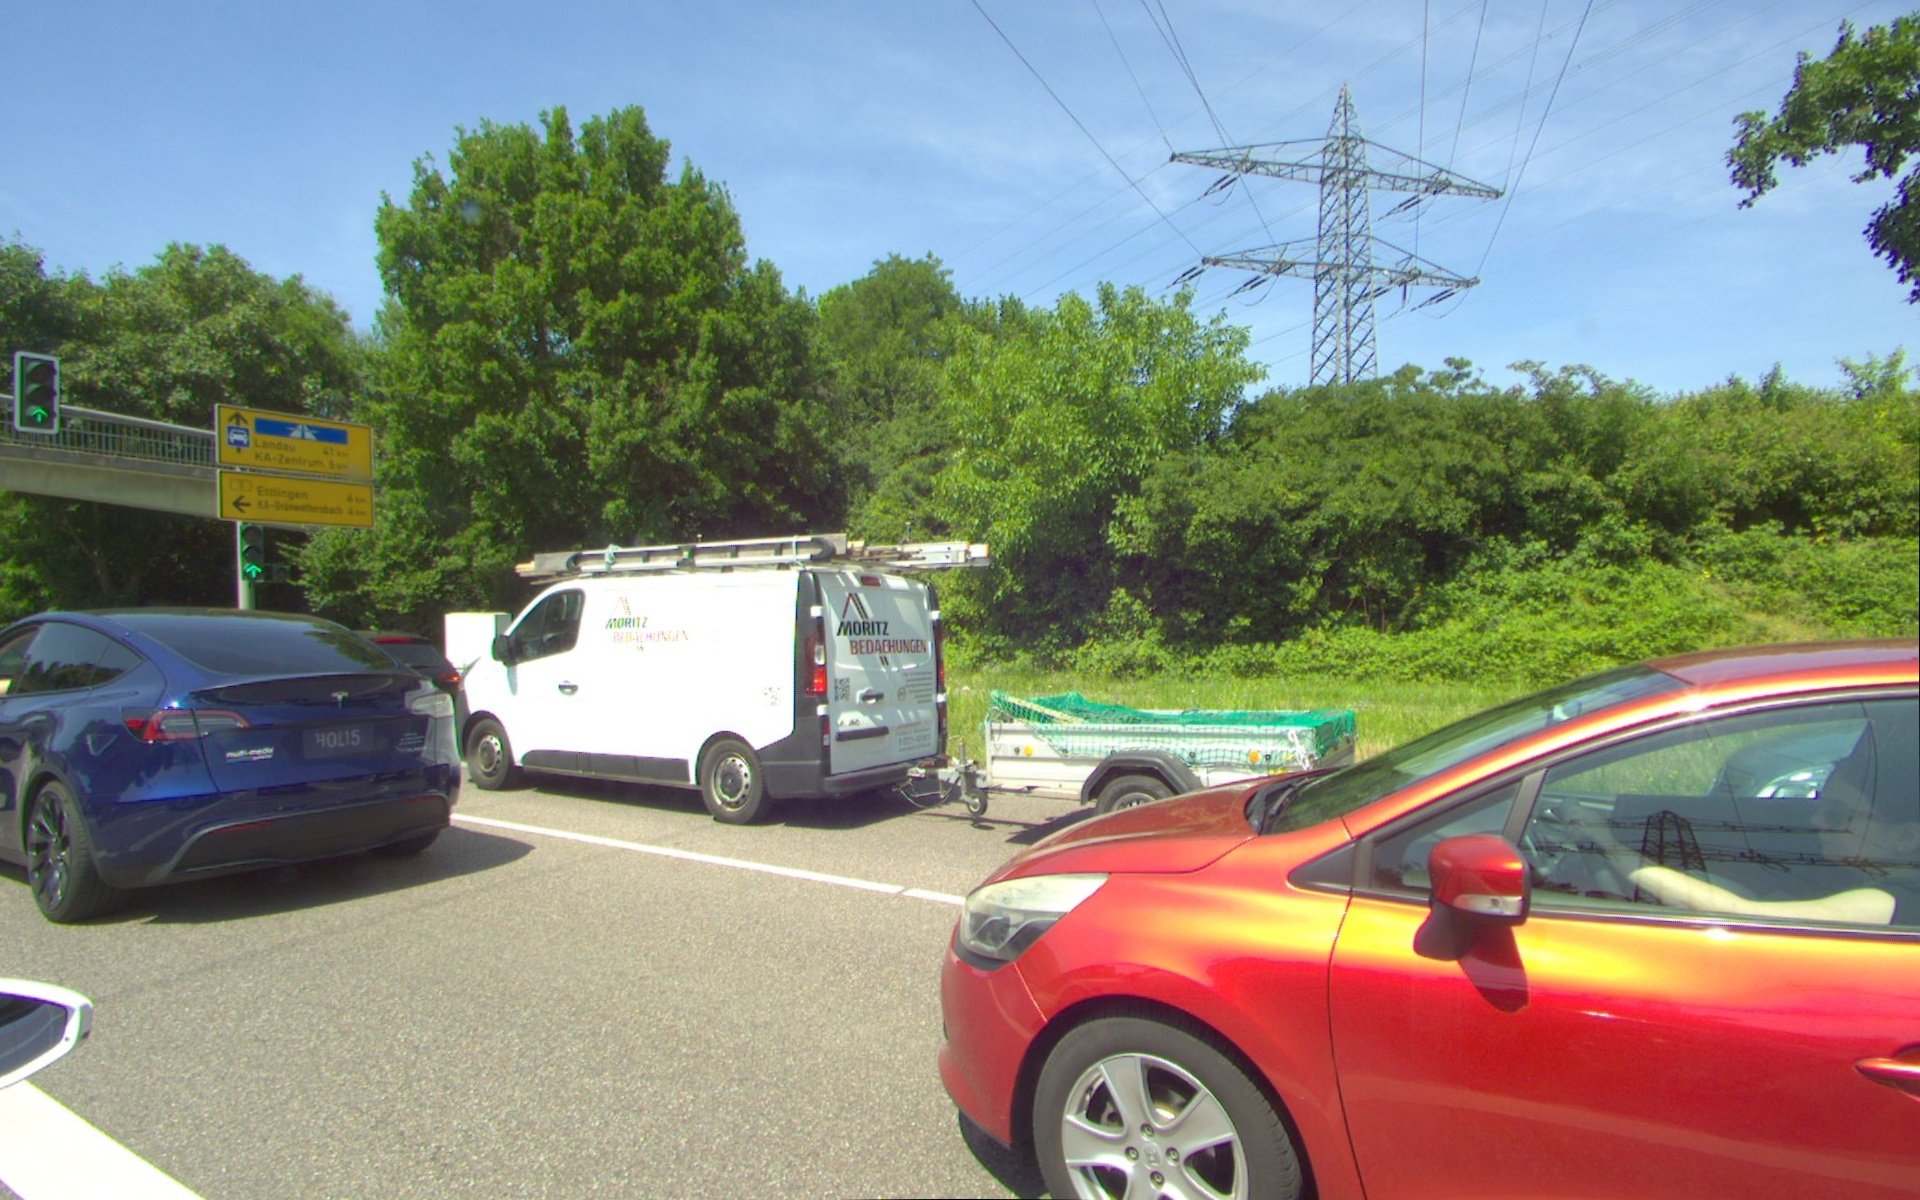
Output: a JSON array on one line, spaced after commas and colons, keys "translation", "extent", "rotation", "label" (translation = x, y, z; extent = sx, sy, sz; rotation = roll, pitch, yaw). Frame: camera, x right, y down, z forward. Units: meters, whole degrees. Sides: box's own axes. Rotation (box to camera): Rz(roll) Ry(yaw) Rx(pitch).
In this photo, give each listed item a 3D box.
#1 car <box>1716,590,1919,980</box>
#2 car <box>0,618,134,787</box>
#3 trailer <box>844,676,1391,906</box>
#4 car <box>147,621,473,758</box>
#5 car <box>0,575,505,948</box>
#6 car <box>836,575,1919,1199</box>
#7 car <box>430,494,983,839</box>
[{"translation": [5.745, 0.756, 4.065], "extent": [4.105, 1.616, 1.761], "rotation": [-1, 0, 32], "label": "car"}, {"translation": [-10.158, 0.936, 9.949], "extent": [3.882, 1.497, 1.897], "rotation": [-1, -2, 32], "label": "car"}, {"translation": [1.029, 1.109, 6.776], "extent": [3.276, 1.019, 1.703], "rotation": [-1, -1, 32], "label": "trailer"}, {"translation": [-8.446, 1.035, 12.926], "extent": [4.317, 1.497, 1.897], "rotation": [-1, -2, 32], "label": "car"}, {"translation": [-5.153, 0.771, 6.479], "extent": [4.455, 1.665, 1.897], "rotation": [-1, -2, 32], "label": "car"}, {"translation": [1.841, 0.727, 2.252], "extent": [4.005, 1.480, 1.740], "rotation": [-1, -2, 31], "label": "car"}, {"translation": [-2.427, 0.520, 9.062], "extent": [5.002, 2.379, 1.930], "rotation": [-1, -1, 32], "label": "car"}]
